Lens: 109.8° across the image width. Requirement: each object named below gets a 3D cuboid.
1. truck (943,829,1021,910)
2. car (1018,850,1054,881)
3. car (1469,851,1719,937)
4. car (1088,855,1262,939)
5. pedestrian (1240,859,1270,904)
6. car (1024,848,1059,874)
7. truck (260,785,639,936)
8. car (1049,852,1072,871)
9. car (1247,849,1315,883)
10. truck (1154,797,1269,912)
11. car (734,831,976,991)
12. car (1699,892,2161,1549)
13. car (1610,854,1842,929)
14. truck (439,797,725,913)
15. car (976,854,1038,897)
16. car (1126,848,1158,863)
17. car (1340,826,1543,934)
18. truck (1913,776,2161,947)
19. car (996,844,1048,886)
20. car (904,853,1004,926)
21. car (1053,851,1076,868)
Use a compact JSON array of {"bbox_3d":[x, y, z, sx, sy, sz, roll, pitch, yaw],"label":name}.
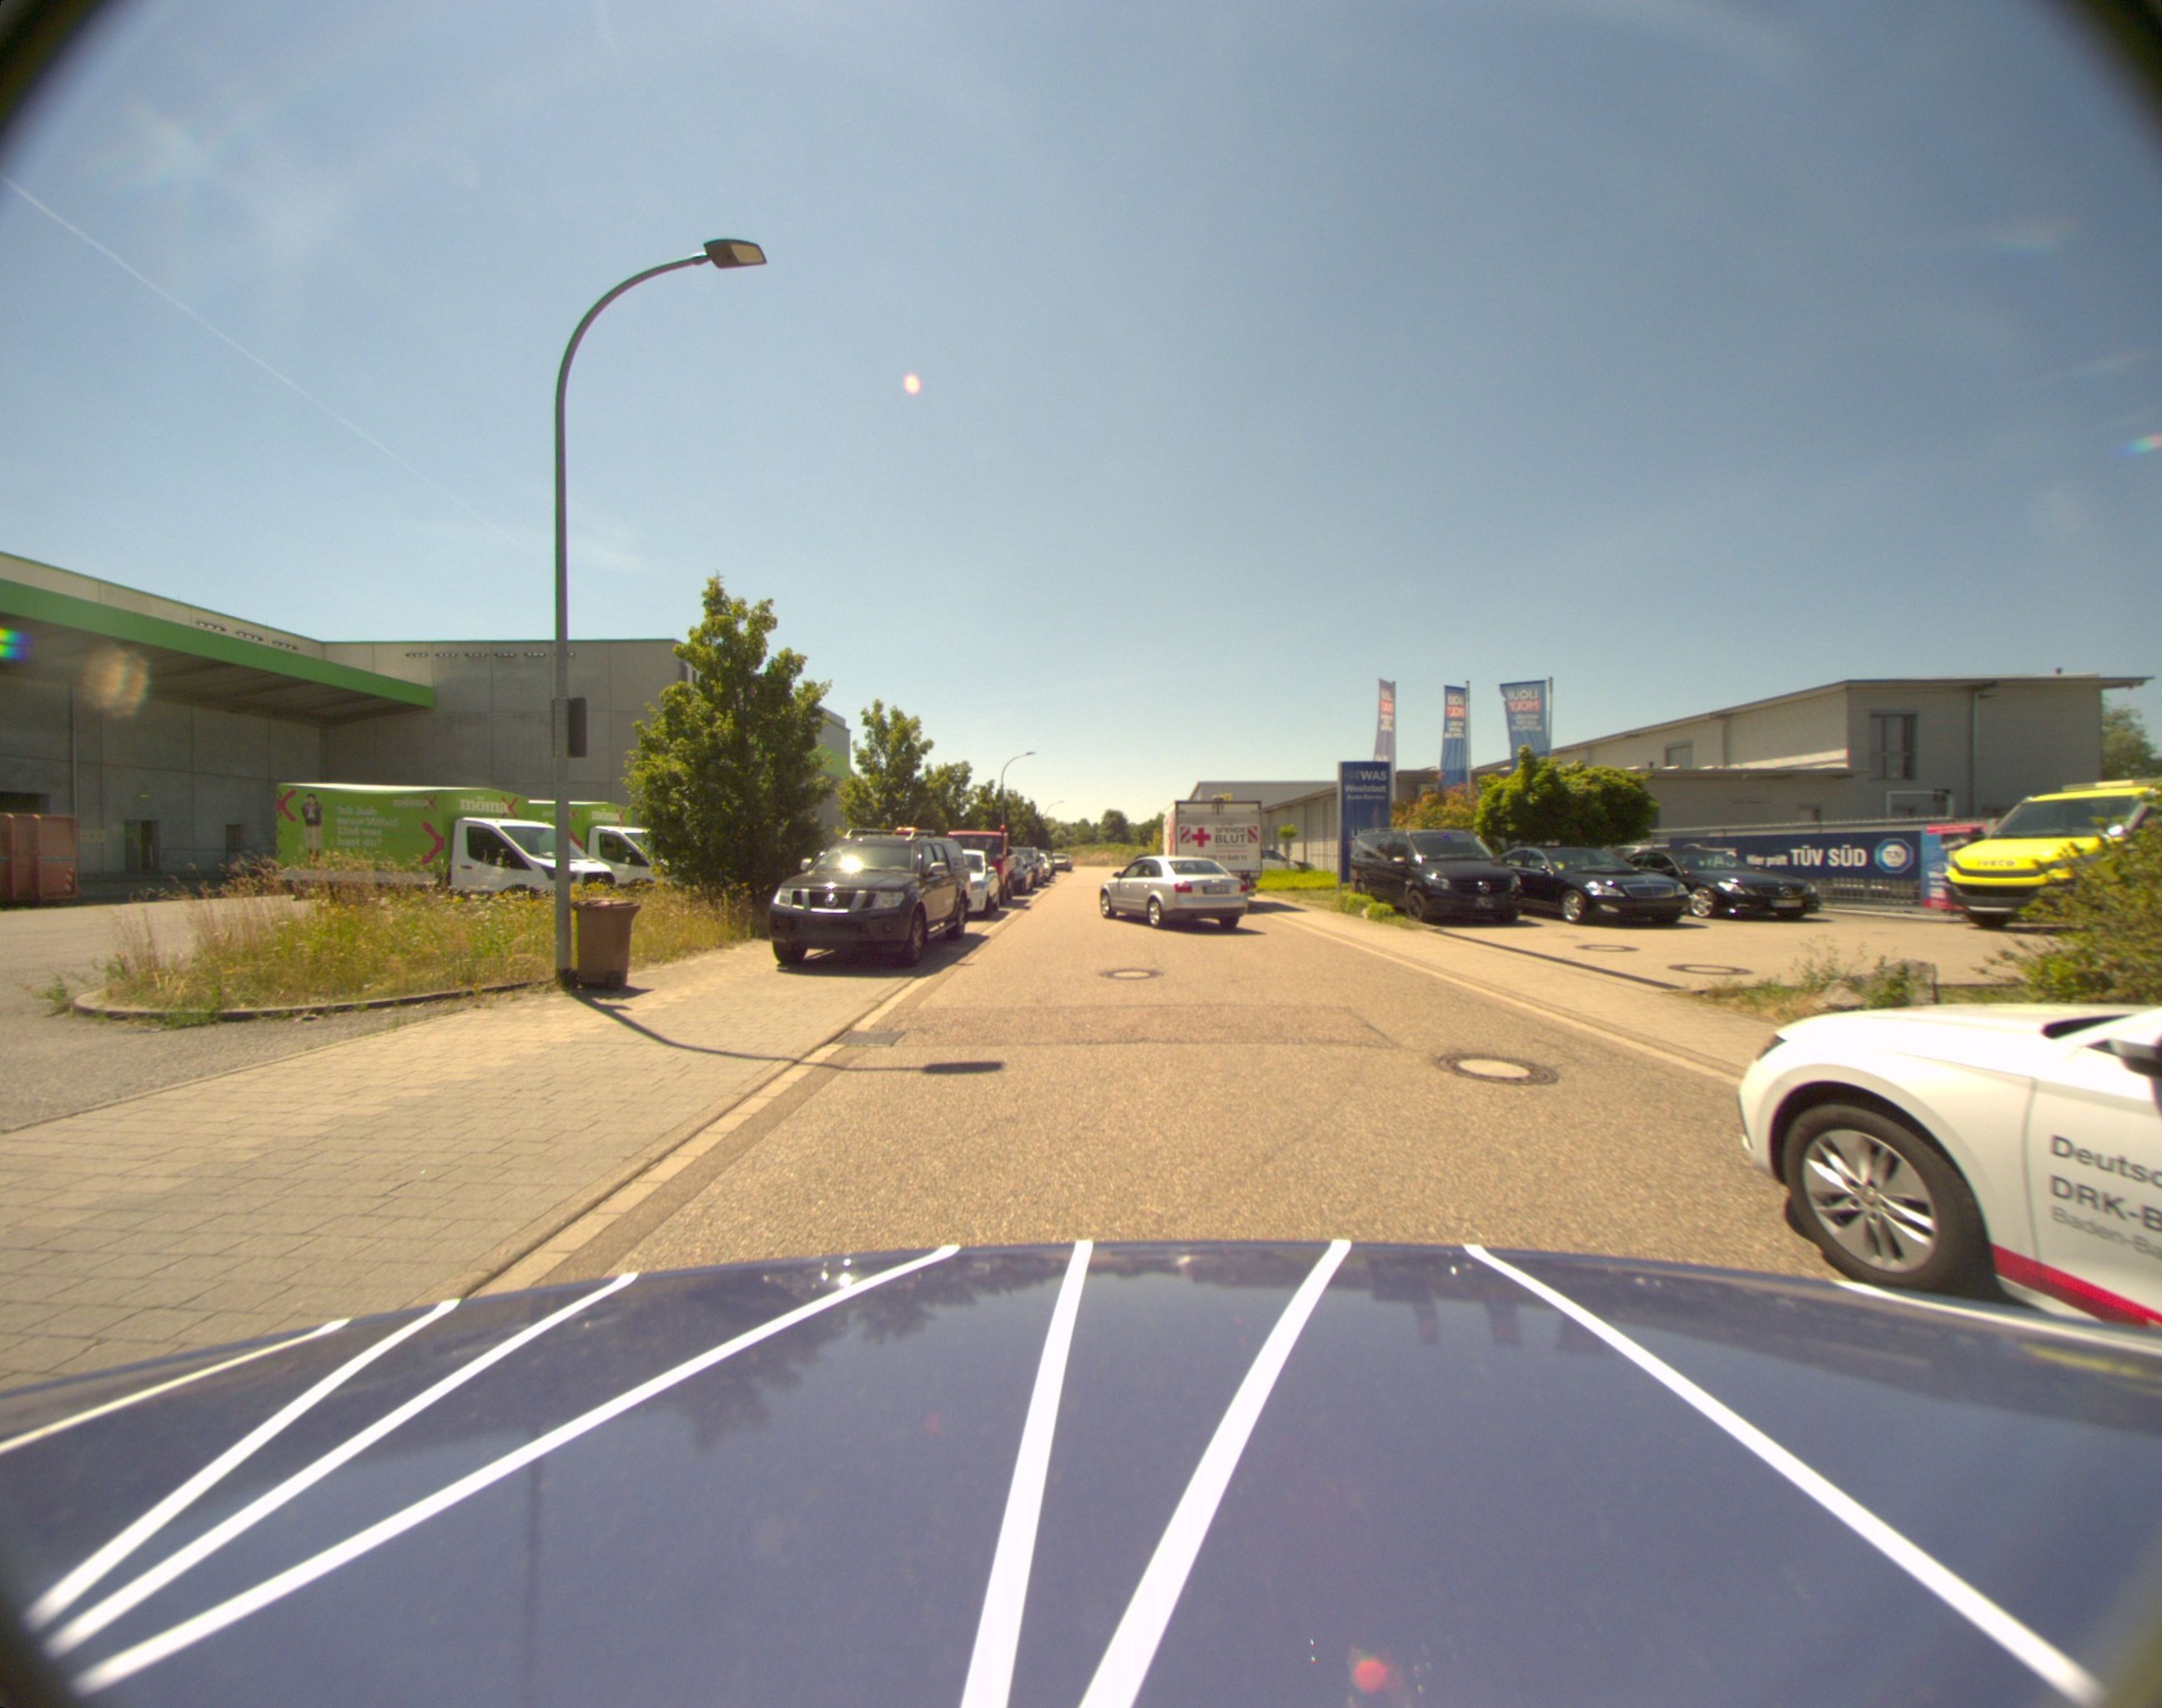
[{"bbox_3d":[-2.862,0.406,22.834,1.683,2.169,4.390,2,1,1],"label":"truck"},{"bbox_3d":[-2.287,0.583,39.545,1.718,1.474,4.772,1,0,-2],"label":"car"},{"bbox_3d":[10.113,0.694,15.567,1.936,1.408,4.769,-2,0,1],"label":"car"},{"bbox_3d":[1.763,0.792,15.939,1.791,1.414,4.405,1,1,-20],"label":"car"},{"bbox_3d":[6.324,0.993,27.676,0.901,1.565,0.785,-2,0,2],"label":"pedestrian"},{"bbox_3d":[-2.661,0.453,51.748,1.953,1.691,4.545,1,0,2],"label":"car"},{"bbox_3d":[-12.835,0.120,15.795,5.836,2.896,2.414,0,1,0],"label":"truck"},{"bbox_3d":[-1.777,0.623,68.254,1.809,1.626,4.458,1,0,1],"label":"car"},{"bbox_3d":[9.258,0.530,35.260,2.748,1.509,1.535,-1,1,0],"label":"car"},{"bbox_3d":[3.620,-0.012,22.493,2.367,2.843,6.415,2,1,2],"label":"truck"},{"bbox_3d":[-3.045,0.655,11.592,1.998,1.874,5.155,1,1,2],"label":"car"},{"bbox_3d":[3.392,0.911,0.896,1.734,1.450,4.491,-1,1,1],"label":"car"},{"bbox_3d":[12.960,0.680,15.605,1.593,1.329,3.763,0,0,1],"label":"car"},{"bbox_3d":[-12.883,0.025,19.972,5.918,2.855,2.306,0,1,-2],"label":"truck"},{"bbox_3d":[-2.673,0.741,28.483,1.702,1.375,4.837,2,0,1],"label":"car"},{"bbox_3d":[8.437,0.239,105.779,4.172,1.649,1.781,-5,1,1],"label":"car"},{"bbox_3d":[7.469,0.456,16.485,1.998,1.945,5.218,-1,1,1],"label":"car"},{"bbox_3d":[17.396,0.044,12.045,5.969,2.447,2.166,-2,0,1],"label":"truck"},{"bbox_3d":[-2.568,0.466,34.089,1.815,1.715,4.774,1,0,2],"label":"car"},{"bbox_3d":[-2.939,0.763,18.431,1.743,1.522,3.999,2,1,0],"label":"car"},{"bbox_3d":[-1.689,0.533,80.292,2.149,1.688,4.785,1,0,1],"label":"car"}]
